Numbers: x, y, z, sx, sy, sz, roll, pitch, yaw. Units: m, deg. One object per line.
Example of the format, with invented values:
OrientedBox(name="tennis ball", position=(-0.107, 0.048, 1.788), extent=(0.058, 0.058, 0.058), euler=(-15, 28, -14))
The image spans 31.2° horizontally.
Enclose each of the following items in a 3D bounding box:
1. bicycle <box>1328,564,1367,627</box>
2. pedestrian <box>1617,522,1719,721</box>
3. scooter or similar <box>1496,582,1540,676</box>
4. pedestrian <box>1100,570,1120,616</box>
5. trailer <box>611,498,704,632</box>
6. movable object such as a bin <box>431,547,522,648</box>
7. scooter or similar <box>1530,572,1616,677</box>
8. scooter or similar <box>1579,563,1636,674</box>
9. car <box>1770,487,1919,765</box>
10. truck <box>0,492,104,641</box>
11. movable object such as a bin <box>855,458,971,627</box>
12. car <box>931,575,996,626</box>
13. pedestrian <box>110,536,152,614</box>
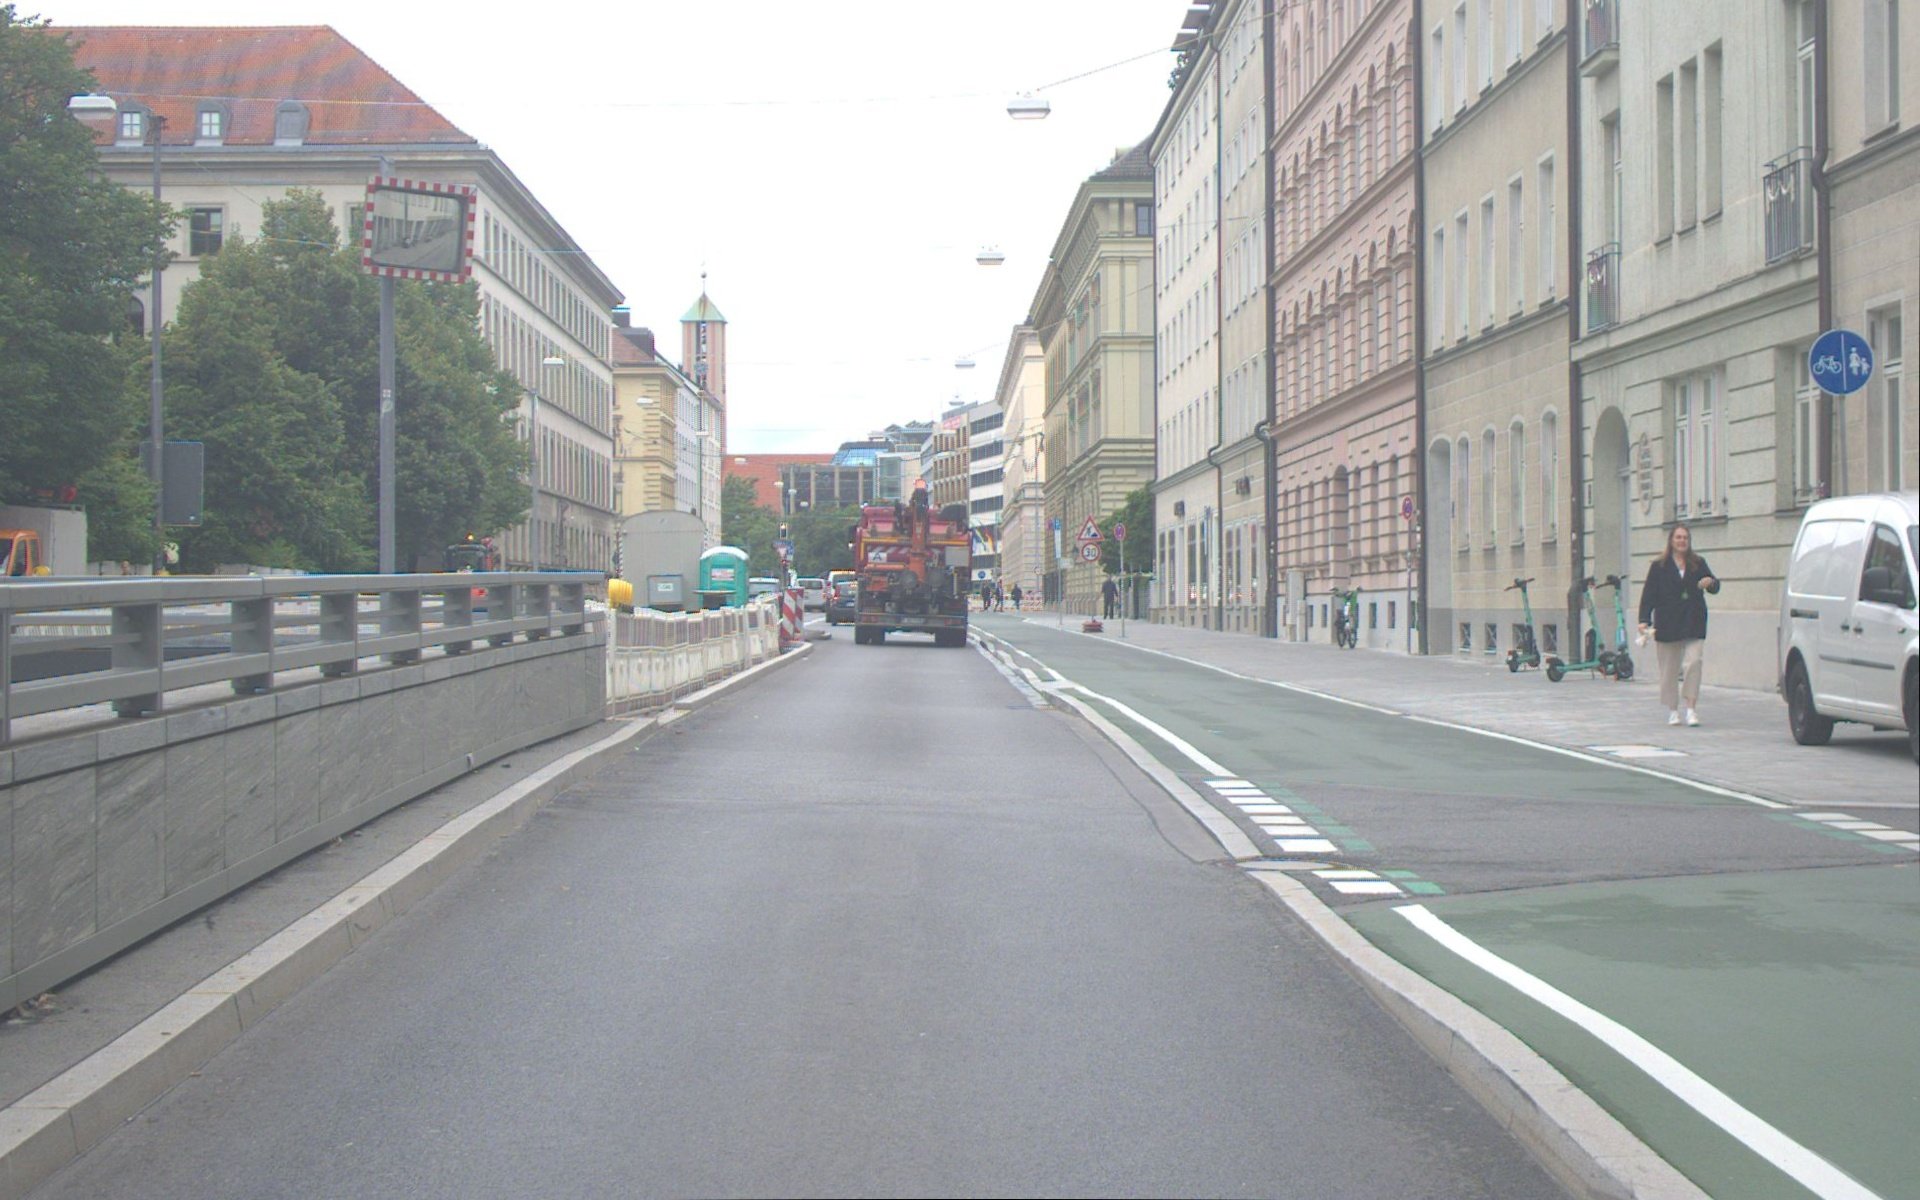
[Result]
OrientedBox(name="bicycle", position=(7.319, -0.091, 64.941), extent=(0.426, 1.170, 1.730), euler=(-1, 0, 16))
OrientedBox(name="pedestrian", position=(5.895, 0.173, 28.644), extent=(0.664, 1.630, 0.737), euler=(-1, 0, -1))
OrientedBox(name="scooter or similar", position=(7.446, 0.384, 45.841), extent=(0.247, 1.227, 1.118), euler=(-2, 0, 25))
OrientedBox(name="pedestrian", position=(6.000, -0.300, 137.661), extent=(0.790, 1.830, 0.777), euler=(0, 0, 0))
OrientedBox(name="trailer", position=(-7.672, -0.863, 86.788), extent=(2.226, 3.232, 7.520), euler=(0, 0, -6))
OrientedBox(name="movable object such as a bin", position=(-12.640, -0.086, 90.065), extent=(1.924, 2.563, 4.493), euler=(1, 1, -3))
OrientedBox(name="scooter or similar", position=(7.353, 0.289, 41.230), extent=(1.116, 1.227, 0.247), euler=(-2, 0, -34))
OrientedBox(name="scooter or similar", position=(7.556, 0.216, 40.162), extent=(0.386, 1.268, 1.119), euler=(-2, 0, -1))
OrientedBox(name="car", position=(6.858, 0.137, 23.054), extent=(1.733, 1.744, 4.435), euler=(-1, 1, -1))
OrientedBox(name="truck", position=(-18.046, -0.640, 65.536), extent=(1.993, 2.719, 5.870), euler=(0, 0, 0))
OrientedBox(name="movable object such as a bin", position=(-1.088, -1.238, 76.339), extent=(2.423, 3.599, 5.852), euler=(0, 0, -2))
OrientedBox(name="car", position=(0.076, 0.001, 104.047), extent=(1.801, 1.475, 4.687), euler=(0, 0, -2))
OrientedBox(name="pedestrian", position=(-16.994, -0.514, 70.466), extent=(0.663, 1.597, 0.698), euler=(1, 0, 0))
